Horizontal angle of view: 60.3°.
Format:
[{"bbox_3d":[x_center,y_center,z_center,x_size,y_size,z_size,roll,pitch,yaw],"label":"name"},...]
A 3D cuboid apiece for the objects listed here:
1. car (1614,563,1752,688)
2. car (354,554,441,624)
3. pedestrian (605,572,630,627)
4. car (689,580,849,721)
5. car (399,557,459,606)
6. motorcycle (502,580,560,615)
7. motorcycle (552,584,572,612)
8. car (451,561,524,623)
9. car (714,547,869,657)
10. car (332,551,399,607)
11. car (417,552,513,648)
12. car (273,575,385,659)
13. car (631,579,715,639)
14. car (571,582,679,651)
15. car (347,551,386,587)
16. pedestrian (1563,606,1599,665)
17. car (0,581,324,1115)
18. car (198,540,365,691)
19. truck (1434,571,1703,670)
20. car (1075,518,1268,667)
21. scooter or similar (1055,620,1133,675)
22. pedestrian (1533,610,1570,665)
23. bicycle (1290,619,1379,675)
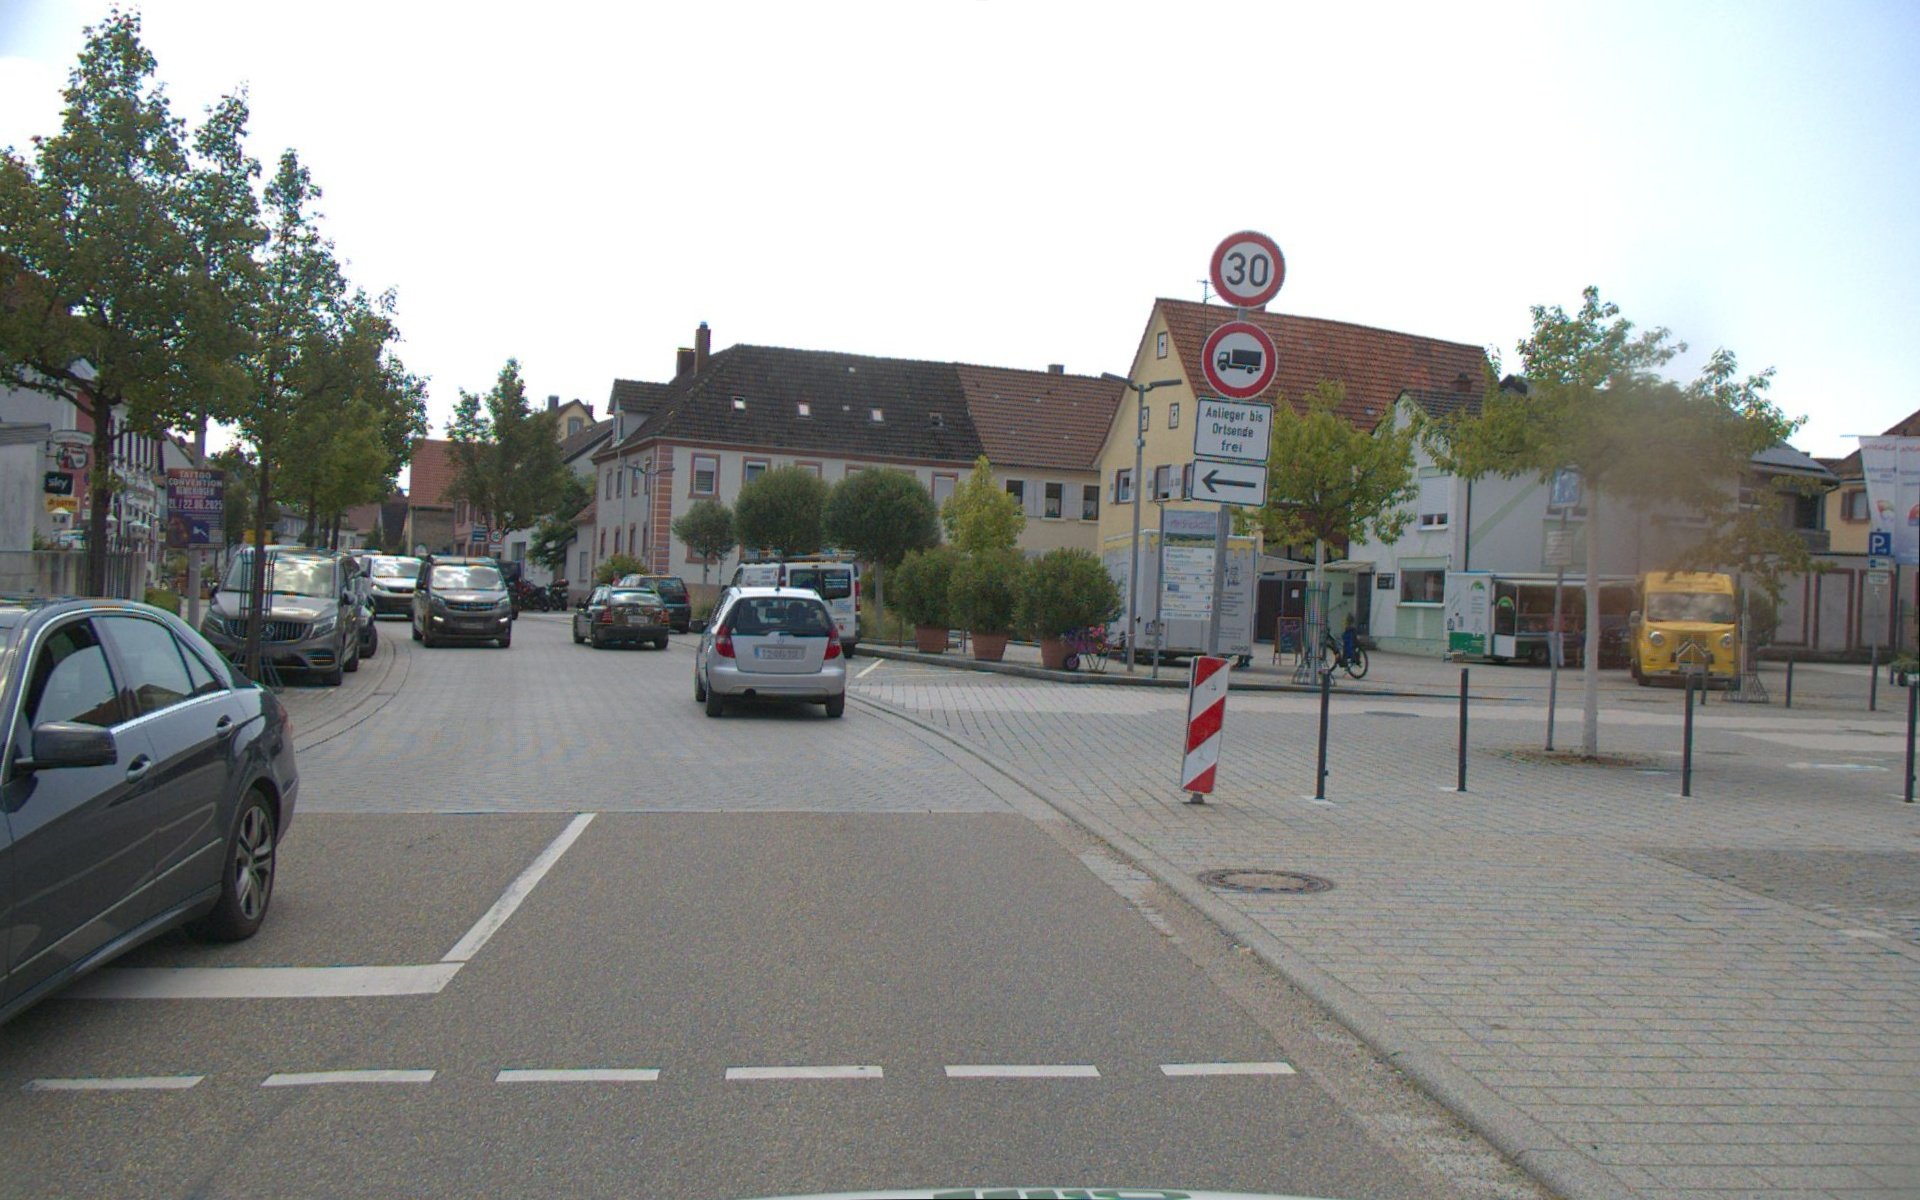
[{"bbox_3d":[16.438,0.547,37.922,2.591,2.520,6.964,2,0,22],"label":"car"},{"bbox_3d":[-17.494,-0.367,51.324,1.969,2.049,4.701,1,1,-26],"label":"car"},{"bbox_3d":[-10.505,-0.005,50.688,0.630,1.657,0.616,2,0,-22],"label":"pedestrian"},{"bbox_3d":[-2.610,0.597,21.869,1.737,1.622,3.989,2,0,-11],"label":"car"},{"bbox_3d":[-21.661,-0.755,67.404,1.967,1.881,3.972,1,0,-23],"label":"car"},{"bbox_3d":[-17.588,-0.110,67.875,2.172,1.419,0.873,1,0,19],"label":"motorcycle"},{"bbox_3d":[-16.885,-0.092,70.125,0.518,1.143,1.057,2,0,-31],"label":"motorcycle"},{"bbox_3d":[-16.247,-0.286,56.742,1.745,1.920,4.415,5,-1,-23],"label":"car"},{"bbox_3d":[-3.768,-0.013,36.053,1.917,2.215,5.064,0,1,-24],"label":"car"},{"bbox_3d":[-23.249,-0.829,64.598,1.969,2.049,4.701,1,1,-26],"label":"car"},{"bbox_3d":[-11.351,-0.037,38.142,1.961,2.049,4.720,1,1,-16],"label":"car"},{"bbox_3d":[-12.138,0.283,32.017,1.788,1.448,4.513,2,0,-19],"label":"car"},{"bbox_3d":[-8.199,0.223,46.956,1.741,1.592,4.396,2,0,-18],"label":"car"},{"bbox_3d":[-7.826,0.350,38.416,1.916,1.432,3.978,2,0,-19],"label":"car"},{"bbox_3d":[-32.262,-1.644,89.878,1.618,1.881,3.576,1,0,-26],"label":"car"},{"bbox_3d":[17.099,0.973,45.543,0.549,1.567,0.812,2,0,-13],"label":"pedestrian"},{"bbox_3d":[-3.699,0.672,5.547,1.848,1.460,4.589,0,1,-7],"label":"car"},{"bbox_3d":[-10.241,0.187,25.295,1.956,2.025,5.017,2,0,-19],"label":"car"},{"bbox_3d":[17.400,0.570,47.442,6.685,2.541,2.948,2,0,-13],"label":"truck"},{"bbox_3d":[4.733,-0.145,38.493,2.700,3.014,7.103,3,-1,-7],"label":"car"},{"bbox_3d":[2.316,0.817,28.666,1.122,0.896,0.812,2,0,-15],"label":"scooter or similar"},{"bbox_3d":[16.145,1.027,45.152,0.632,1.467,0.758,1,-1,-14],"label":"pedestrian"},{"bbox_3d":[8.061,1.011,35.695,0.744,1.087,2.096,2,0,-24],"label":"bicycle"}]
